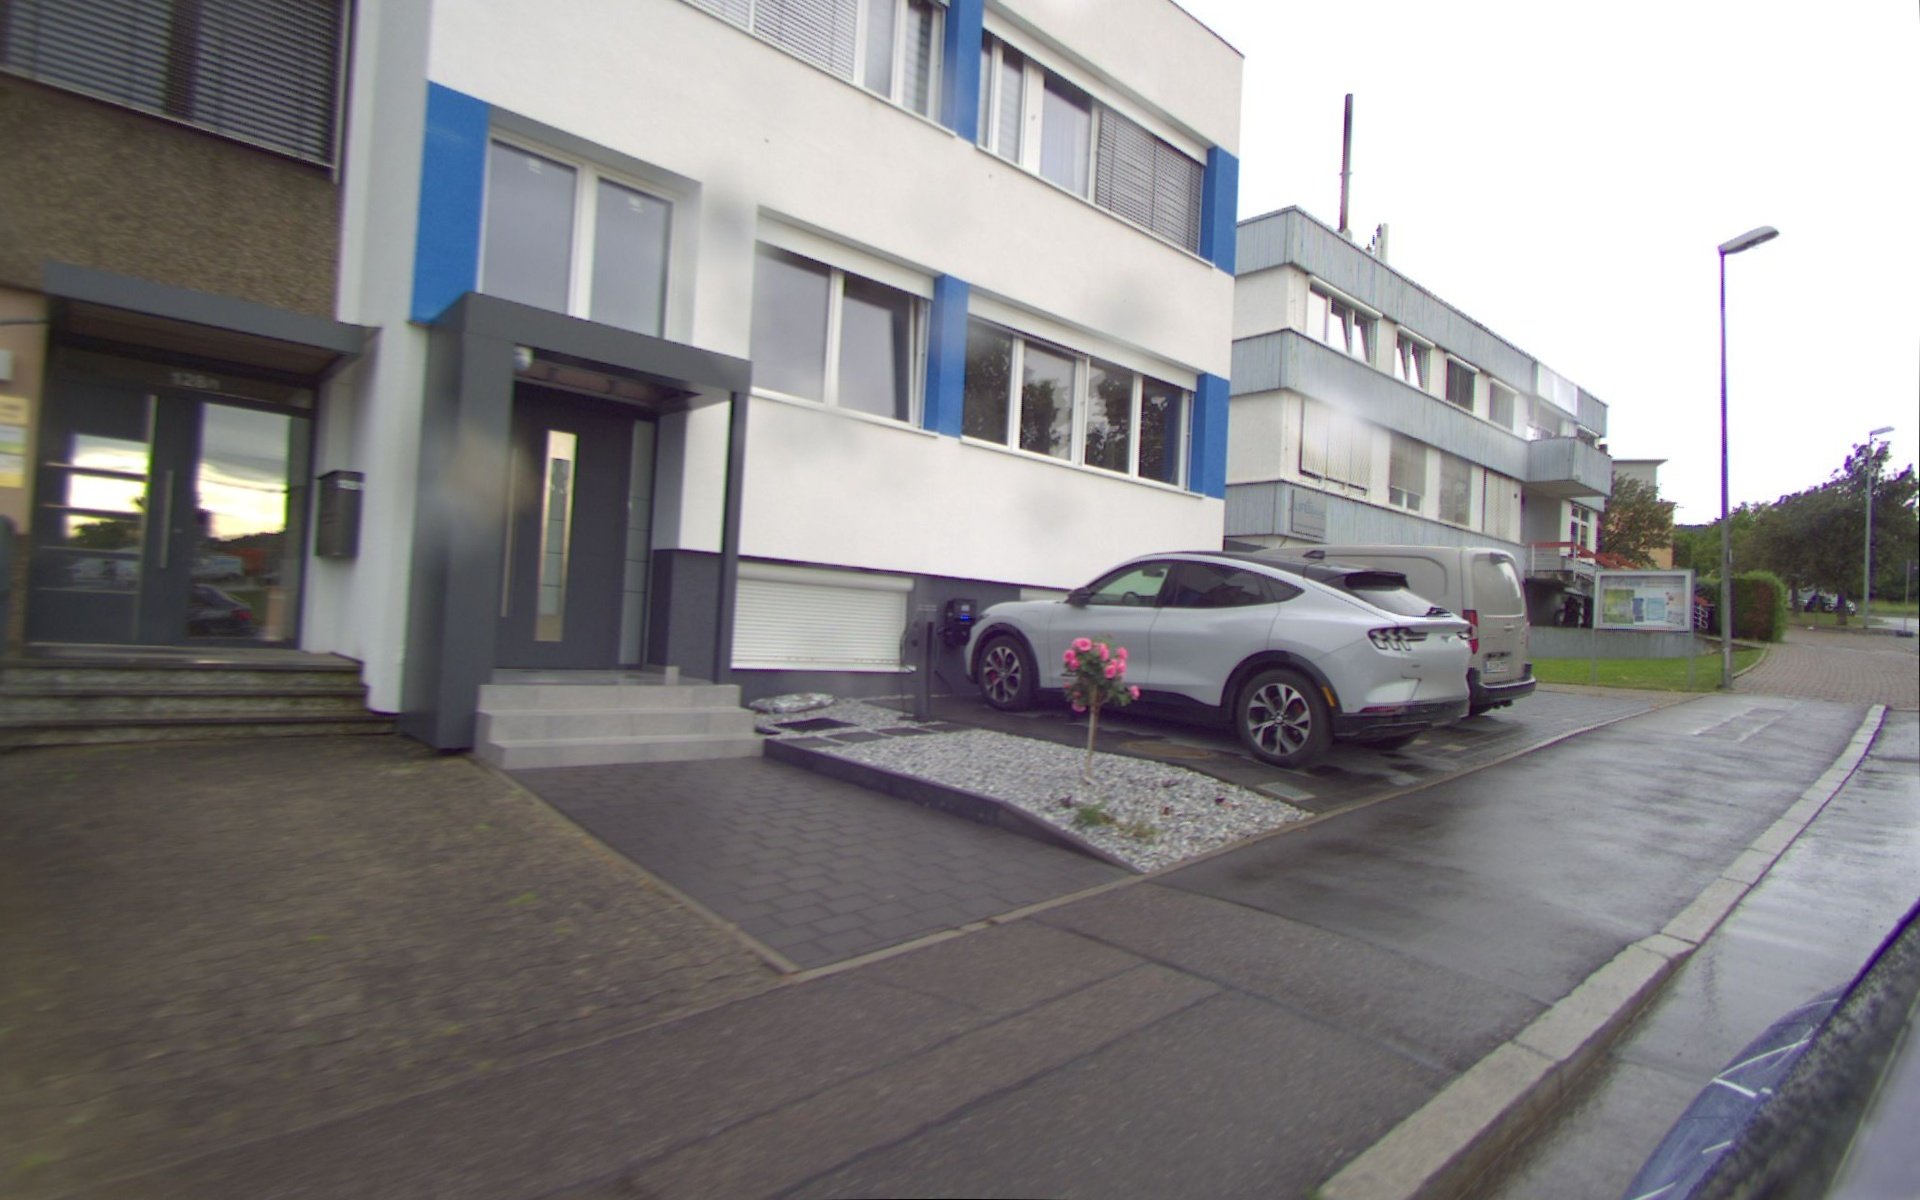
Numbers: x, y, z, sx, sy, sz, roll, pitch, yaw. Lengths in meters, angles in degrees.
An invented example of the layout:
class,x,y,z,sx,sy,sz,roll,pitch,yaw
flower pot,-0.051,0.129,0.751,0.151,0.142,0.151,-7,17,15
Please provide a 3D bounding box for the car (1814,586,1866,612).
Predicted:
class,x,y,z,sx,sy,sz,roll,pitch,yaw
car,64.454,-0.087,74.185,1.800,1.748,4.609,1,2,27

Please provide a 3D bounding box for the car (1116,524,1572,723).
class,x,y,z,sx,sy,sz,roll,pitch,yaw
car,4.132,0.126,11.419,2.054,1.795,4.346,0,2,-43

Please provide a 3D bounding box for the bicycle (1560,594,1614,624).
class,x,y,z,sx,sy,sz,roll,pitch,yaw
bicycle,20.355,0.285,32.892,1.456,0.913,0.284,1,1,25

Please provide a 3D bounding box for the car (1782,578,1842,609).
class,x,y,z,sx,sy,sz,roll,pitch,yaw
car,66.955,-0.547,79.610,2.031,2.360,5.366,1,1,22

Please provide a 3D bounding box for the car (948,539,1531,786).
class,x,y,z,sx,sy,sz,roll,pitch,yaw
car,2.192,0.304,9.020,2.043,1.557,4.605,0,3,-42

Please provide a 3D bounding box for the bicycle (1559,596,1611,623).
class,x,y,z,sx,sy,sz,roll,pitch,yaw
bicycle,20.482,0.314,33.162,1.406,0.840,0.284,1,1,25
